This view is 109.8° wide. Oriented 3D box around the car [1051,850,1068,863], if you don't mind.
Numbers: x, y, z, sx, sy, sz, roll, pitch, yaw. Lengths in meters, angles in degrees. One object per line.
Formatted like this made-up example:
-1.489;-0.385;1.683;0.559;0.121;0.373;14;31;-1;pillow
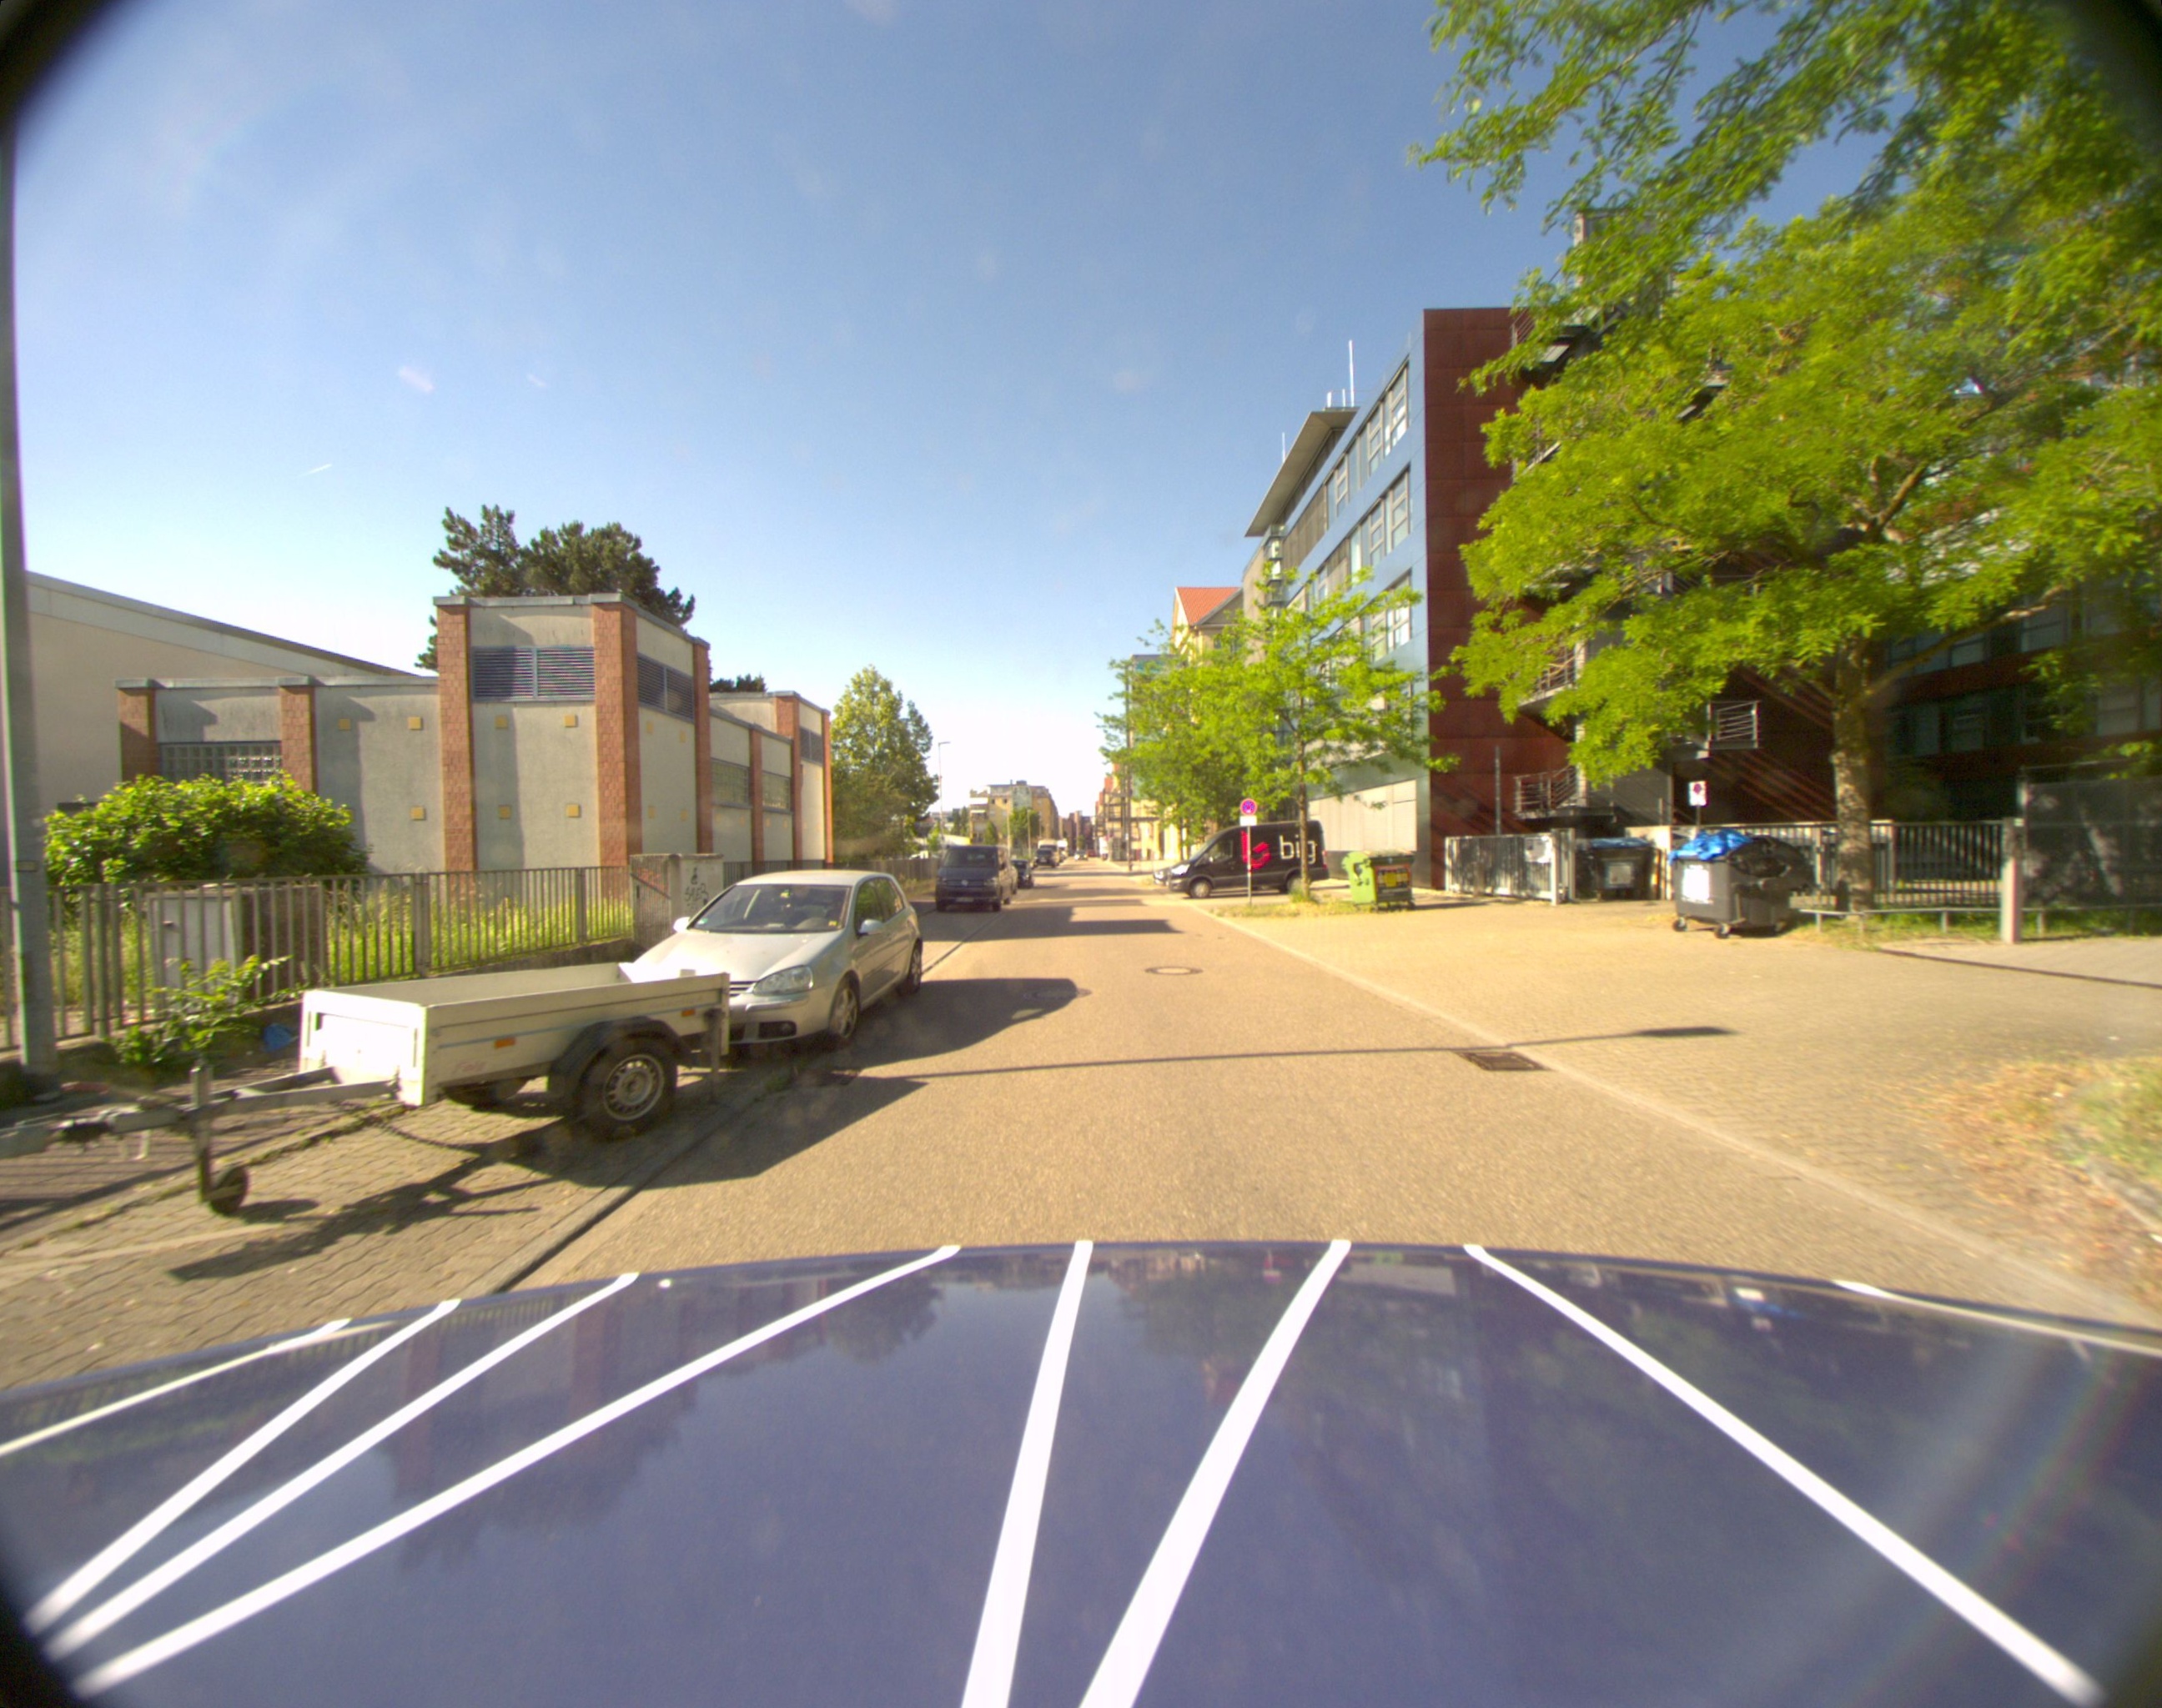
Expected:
-2.599;0.285;92.352;1.850;1.417;4.225;-2;0;1;car

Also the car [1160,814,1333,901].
5.717;0.094;26.783;5.468;2.608;2.231;-4;1;0;car

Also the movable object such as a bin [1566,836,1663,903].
12.156;0.335;17.357;1.484;1.478;1.011;-1;2;1;movable object such as a bin

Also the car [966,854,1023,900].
-3.394;0.860;30.517;1.830;1.620;4.292;0;1;0;car

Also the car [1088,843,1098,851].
2.300;-1.362;145.597;1.760;1.440;4.000;-1;1;2;car

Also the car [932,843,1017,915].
-3.179;0.673;23.639;1.948;2.010;4.824;0;1;0;car

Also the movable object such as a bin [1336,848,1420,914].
6.806;0.597;17.483;1.298;1.405;1.225;-2;1;-17;movable object such as a bin

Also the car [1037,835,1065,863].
-2.839;-0.499;74.031;2.163;2.582;6.284;-2;1;2;car

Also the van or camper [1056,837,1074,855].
-2.599;-1.370;124.250;2.722;2.841;5.132;-1;1;-1;van or camper

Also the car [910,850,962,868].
-13.660;0.481;71.840;4.422;1.600;2.000;-1;1;3;car

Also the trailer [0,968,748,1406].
-3.409;1.270;3.906;1.372;0.906;2.943;1;0;24;trailer

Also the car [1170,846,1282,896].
5.543;0.618;29.401;3.841;1.636;1.891;-4;1;-2;car

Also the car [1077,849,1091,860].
0.426;0.028;102.161;1.850;1.417;4.224;-1;1;1;car

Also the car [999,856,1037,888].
-3.142;0.858;38.491;1.656;1.464;3.763;0;1;-1;car

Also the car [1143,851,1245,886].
5.389;0.679;36.546;4.546;1.343;1.892;-4;1;0;car

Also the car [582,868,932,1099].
-2.732;0.981;7.473;1.664;1.552;3.934;-1;0;1;car

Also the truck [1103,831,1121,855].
4.533;-1.592;112.119;2.499;3.412;7.127;-1;1;2;truck

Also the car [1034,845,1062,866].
-2.786;0.100;65.036;1.998;1.686;4.103;-1;1;2;car

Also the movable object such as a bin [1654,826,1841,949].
9.867;0.442;11.357;1.417;1.588;1.522;-5;3;4;movable object such as a bin
